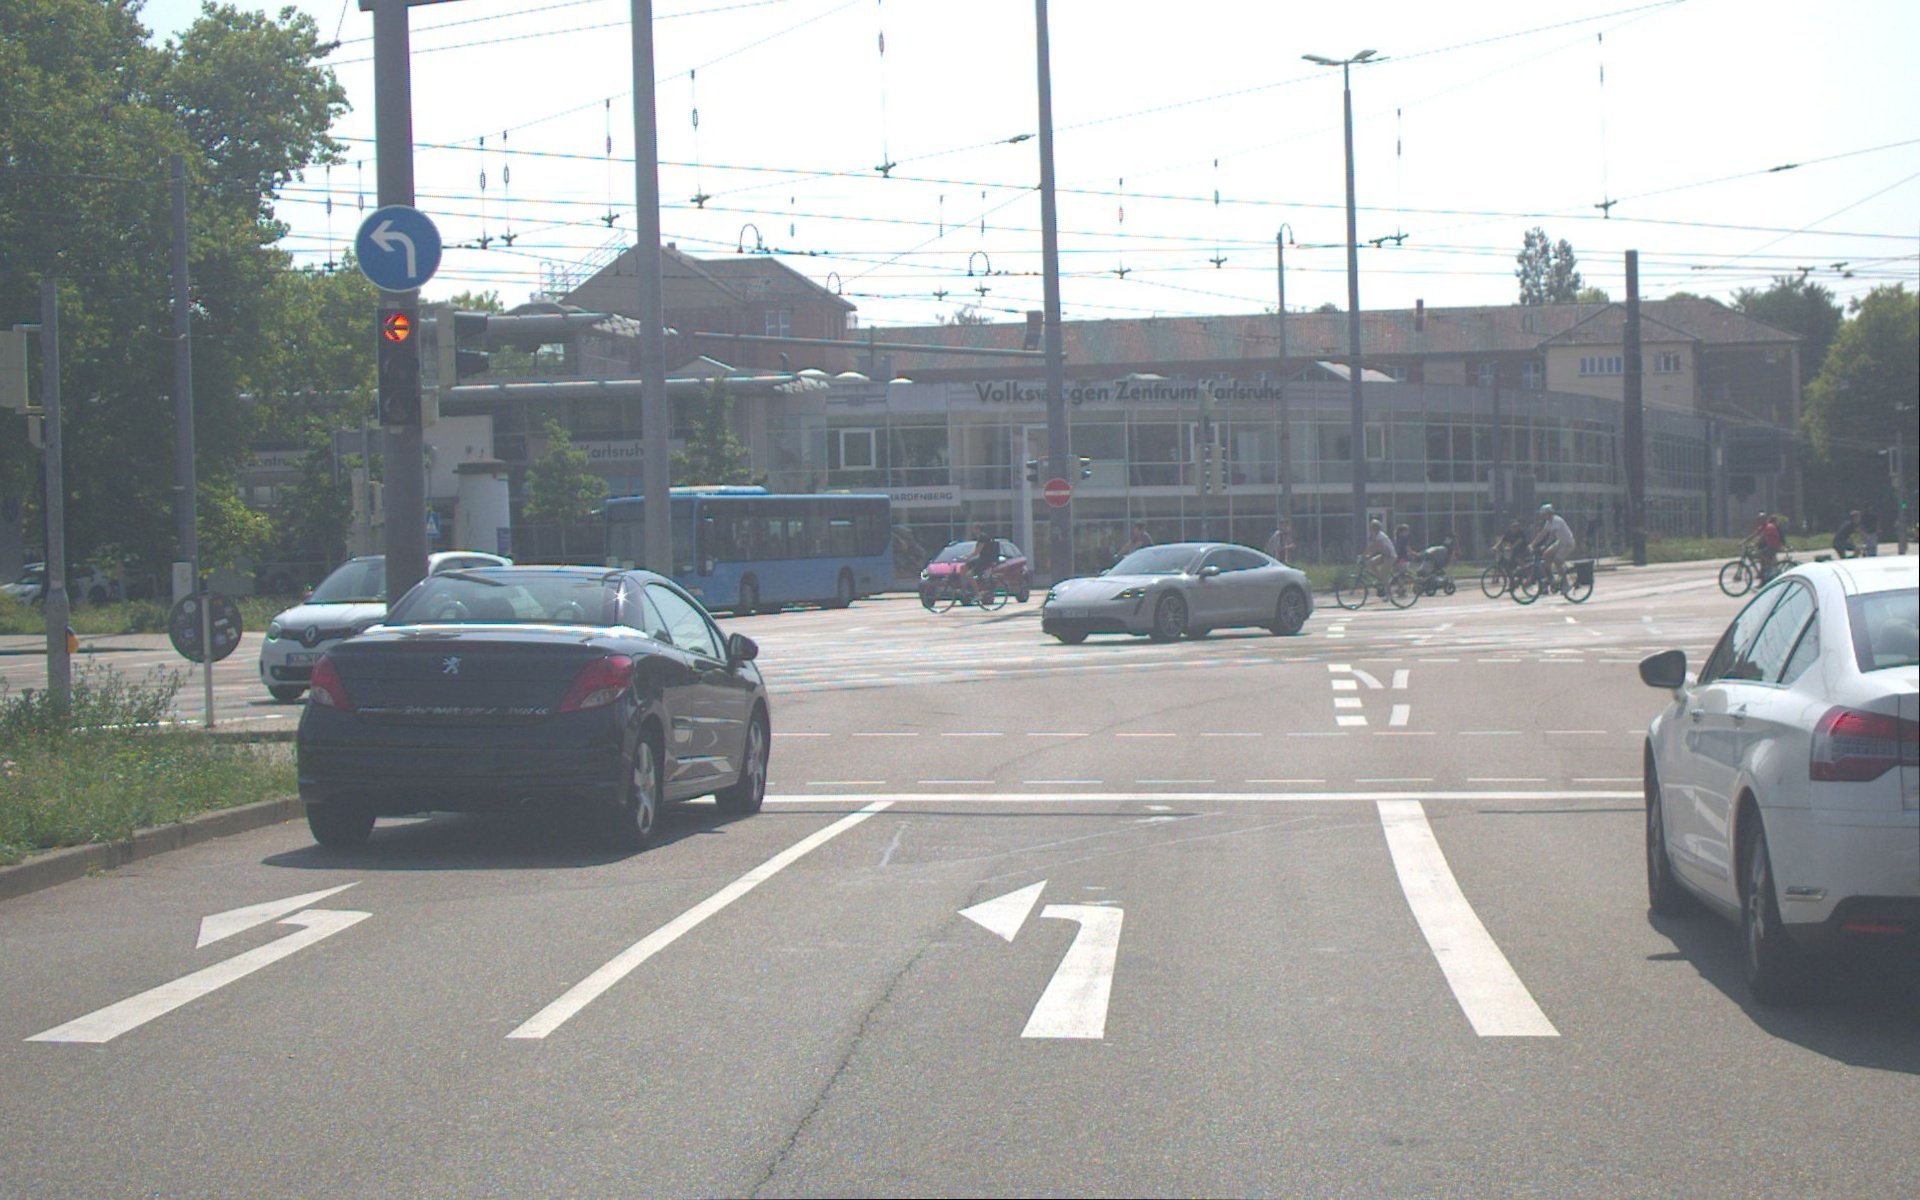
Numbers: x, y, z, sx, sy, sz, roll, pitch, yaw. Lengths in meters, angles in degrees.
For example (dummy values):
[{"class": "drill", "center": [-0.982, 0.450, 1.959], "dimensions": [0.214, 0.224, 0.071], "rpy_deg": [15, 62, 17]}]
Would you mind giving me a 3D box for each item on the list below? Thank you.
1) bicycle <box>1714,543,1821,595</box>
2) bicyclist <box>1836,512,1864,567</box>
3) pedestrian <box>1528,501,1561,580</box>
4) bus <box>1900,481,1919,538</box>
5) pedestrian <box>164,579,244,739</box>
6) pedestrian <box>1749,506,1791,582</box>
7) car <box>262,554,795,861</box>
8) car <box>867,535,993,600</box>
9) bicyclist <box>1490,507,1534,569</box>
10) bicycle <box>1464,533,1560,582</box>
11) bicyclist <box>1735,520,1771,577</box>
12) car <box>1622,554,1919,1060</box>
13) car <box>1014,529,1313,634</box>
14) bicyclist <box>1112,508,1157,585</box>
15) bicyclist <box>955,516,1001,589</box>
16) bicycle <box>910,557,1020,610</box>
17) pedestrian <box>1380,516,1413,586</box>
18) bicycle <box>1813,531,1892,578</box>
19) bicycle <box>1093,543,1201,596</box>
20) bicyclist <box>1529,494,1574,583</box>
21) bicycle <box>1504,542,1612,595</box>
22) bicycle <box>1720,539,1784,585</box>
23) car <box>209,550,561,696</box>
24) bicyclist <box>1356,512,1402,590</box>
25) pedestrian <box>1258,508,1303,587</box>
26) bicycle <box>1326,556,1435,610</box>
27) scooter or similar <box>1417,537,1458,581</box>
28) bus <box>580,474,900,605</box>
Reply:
[{"class": "bicycle", "center": [16.444, -0.632, 70.015], "dimensions": [1.981, 1.015, 0.713], "rpy_deg": [-1, 1, 28]}, {"class": "bicyclist", "center": [19.230, -1.304, 74.255], "dimensions": [0.504, 1.184, 0.507], "rpy_deg": [-1, 1, 21]}, {"class": "pedestrian", "center": [13.182, -1.344, 77.543], "dimensions": [0.622, 1.746, 0.628], "rpy_deg": [-1, 1, 1]}, {"class": "bus", "center": [60.218, -5.660, 214.928], "dimensions": [2.564, 3.494, 7.795], "rpy_deg": [-1, 1, 16]}, {"class": "pedestrian", "center": [-6.229, 0.478, 28.317], "dimensions": [0.595, 1.264, 0.505], "rpy_deg": [-2, 3, -14]}, {"class": "pedestrian", "center": [16.487, -1.136, 69.978], "dimensions": [0.663, 1.529, 0.713], "rpy_deg": [-1, 1, 28]}, {"class": "car", "center": [-2.130, 0.479, 18.114], "dimensions": [1.758, 1.399, 3.979], "rpy_deg": [0, 1, 9]}, {"class": "car", "center": [-0.664, -0.778, 80.313], "dimensions": [1.729, 1.415, 3.837], "rpy_deg": [-1, 1, 19]}, {"class": "bicyclist", "center": [12.066, -1.356, 75.151], "dimensions": [0.668, 1.345, 0.712], "rpy_deg": [-2, 1, -20]}, {"class": "bicycle", "center": [12.068, -0.927, 75.157], "dimensions": [1.977, 1.015, 0.715], "rpy_deg": [-2, 1, -20]}, {"class": "bicyclist", "center": [17.661, -1.151, 76.564], "dimensions": [0.594, 1.243, 0.507], "rpy_deg": [-2, 1, -38]}, {"class": "car", "center": [3.483, 0.580, 12.292], "dimensions": [1.758, 1.450, 4.425], "rpy_deg": [0, 1, 5]}, {"class": "car", "center": [3.008, -0.281, 49.905], "dimensions": [1.944, 1.395, 4.576], "rpy_deg": [-1, 1, 40]}, {"class": "bicyclist", "center": [3.762, -1.147, 74.121], "dimensions": [0.761, 1.628, 0.763], "rpy_deg": [-1, 1, -11]}, {"class": "bicyclist", "center": [0.381, -1.013, 73.199], "dimensions": [0.797, 1.536, 0.763], "rpy_deg": [-1, 1, -14]}, {"class": "bicycle", "center": [0.111, -0.358, 73.149], "dimensions": [2.196, 1.084, 0.763], "rpy_deg": [-1, 1, -14]}, {"class": "pedestrian", "center": [9.823, -1.114, 77.409], "dimensions": [0.635, 1.555, 0.747], "rpy_deg": [-1, 1, 2]}, {"class": "bicycle", "center": [19.269, -0.988, 74.242], "dimensions": [1.592, 0.981, 0.507], "rpy_deg": [-1, 1, 21]}, {"class": "bicycle", "center": [4.029, -0.658, 74.174], "dimensions": [2.196, 1.084, 0.763], "rpy_deg": [-1, 1, -11]}, {"class": "bicyclist", "center": [11.809, -1.225, 68.646], "dimensions": [0.704, 1.758, 0.715], "rpy_deg": [-1, 1, -6]}, {"class": "bicycle", "center": [11.938, -0.628, 68.672], "dimensions": [1.977, 1.015, 0.715], "rpy_deg": [-1, 1, -6]}, {"class": "bicycle", "center": [17.634, -0.851, 76.541], "dimensions": [1.591, 0.981, 0.507], "rpy_deg": [-2, 1, -39]}, {"class": "car", "center": [-6.108, 0.214, 37.007], "dimensions": [1.772, 1.420, 4.062], "rpy_deg": [-1, 1, 24]}, {"class": "bicyclist", "center": [8.215, -0.958, 67.407], "dimensions": [0.664, 1.503, 0.715], "rpy_deg": [-1, 1, -11]}, {"class": "pedestrian", "center": [7.118, -1.168, 76.282], "dimensions": [0.784, 1.746, 0.808], "rpy_deg": [-1, 1, 20]}, {"class": "bicycle", "center": [8.253, -0.339, 67.423], "dimensions": [1.977, 1.015, 0.715], "rpy_deg": [-1, 1, -11]}, {"class": "scooter or similar", "center": [10.735, -0.927, 77.318], "dimensions": [0.835, 0.971, 0.792], "rpy_deg": [-1, 1, 3]}, {"class": "bus", "center": [-5.133, -1.528, 83.785], "dimensions": [3.057, 2.921, 11.840], "rpy_deg": [-1, 1, 21]}]
